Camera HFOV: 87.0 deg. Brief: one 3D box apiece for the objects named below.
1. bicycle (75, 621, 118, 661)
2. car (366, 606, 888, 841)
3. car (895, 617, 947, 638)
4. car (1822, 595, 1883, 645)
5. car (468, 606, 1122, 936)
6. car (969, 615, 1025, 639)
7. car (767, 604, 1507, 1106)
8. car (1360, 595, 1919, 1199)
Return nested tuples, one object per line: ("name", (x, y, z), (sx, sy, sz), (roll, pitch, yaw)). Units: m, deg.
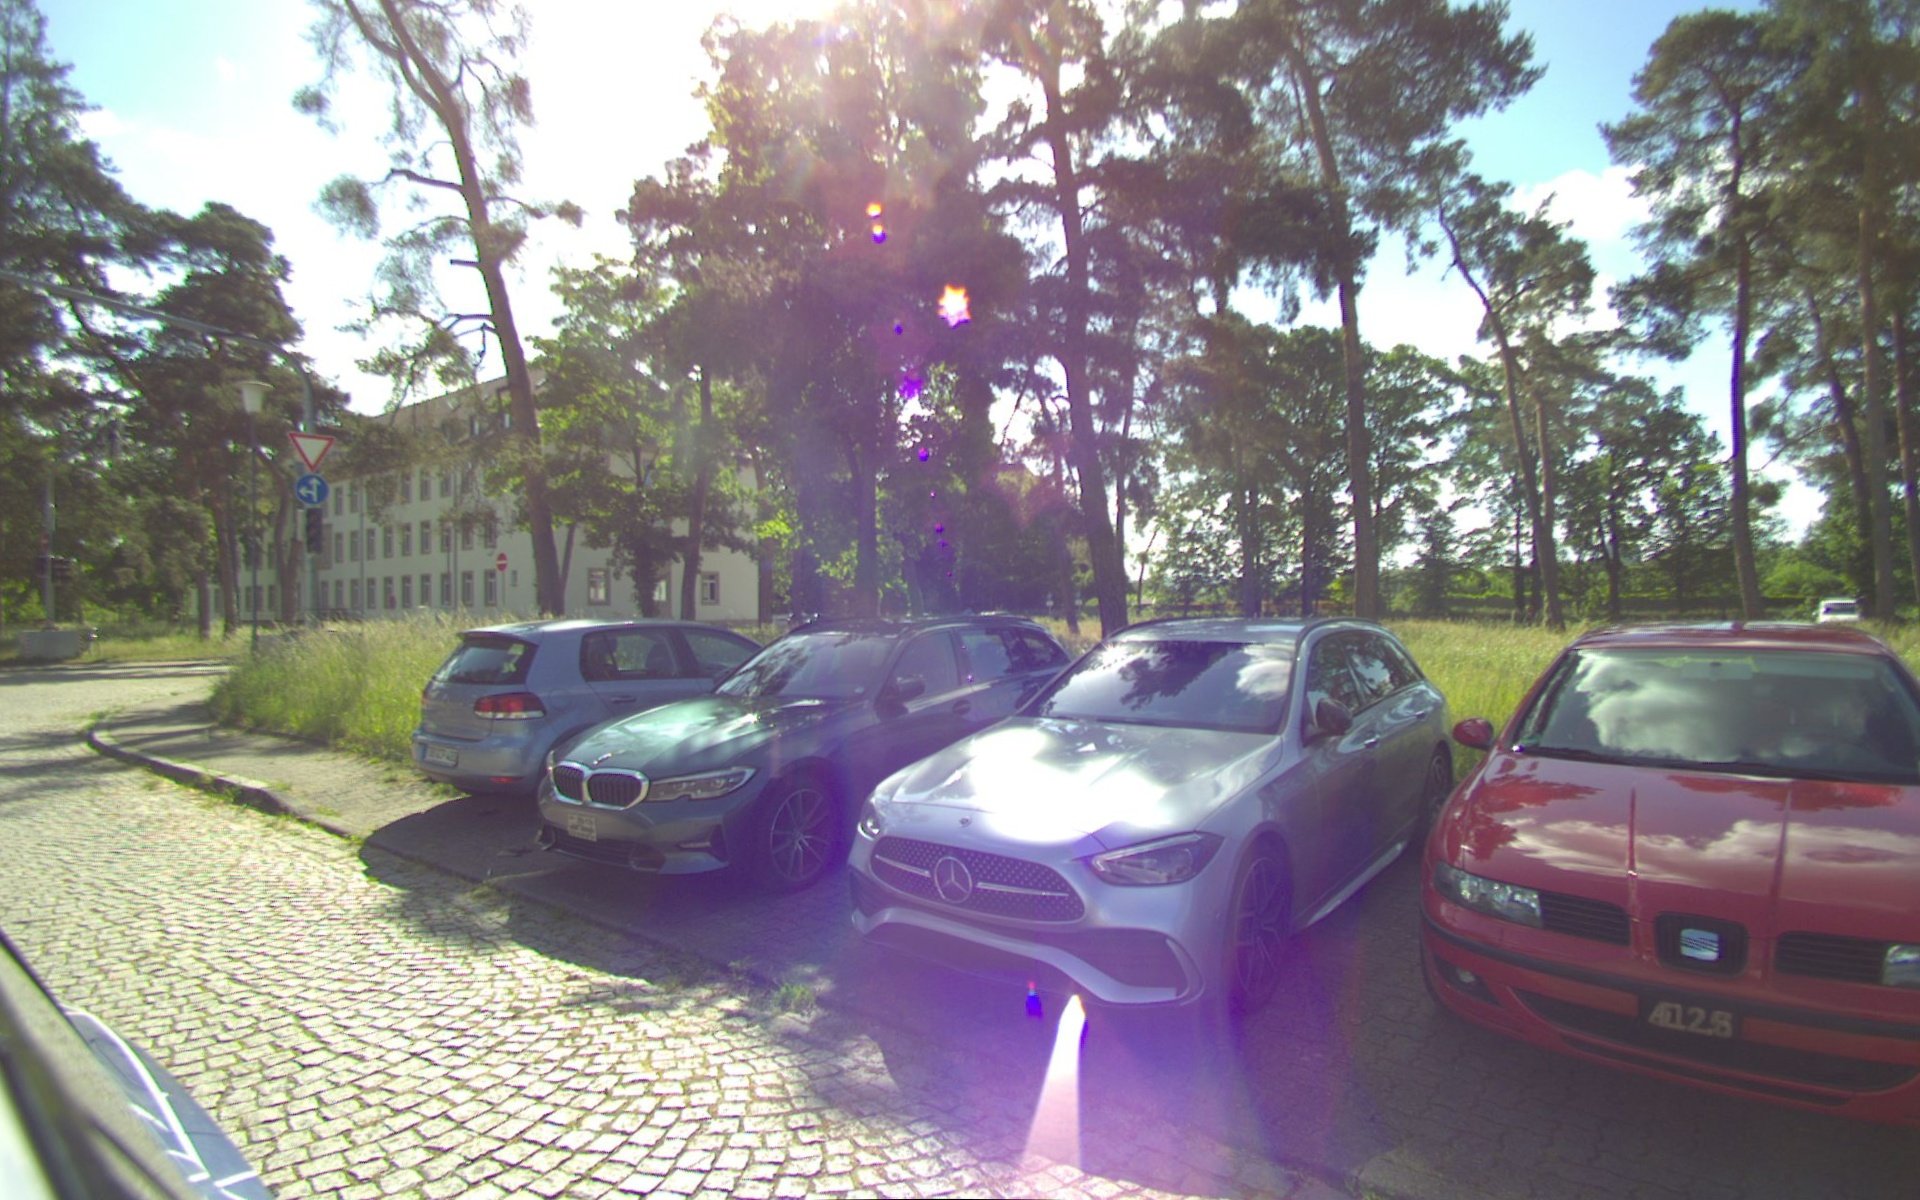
("bicycle", (-29.015, 1.366, 33.997), (2.111, 1.293, 0.614), (-2, 1, 37))
("car", (-2.688, 0.857, 8.953), (1.946, 1.494, 3.990), (-2, 0, 37))
("car", (-2.923, 2.060, 76.537), (1.719, 1.593, 4.053), (-1, -2, 40))
("car", (41.422, 0.932, 47.053), (1.955, 2.180, 4.797), (-1, -2, 40))
("car", (-0.757, 0.817, 7.177), (1.980, 1.463, 4.541), (-1, 0, 35))
("car", (2.628, 1.887, 71.329), (1.839, 1.642, 4.005), (-1, -2, 40))
("car", (1.436, 0.787, 5.569), (1.936, 1.431, 4.817), (0, 1, 39))
("car", (3.518, 0.736, 4.429), (1.936, 1.431, 4.817), (-1, 0, 39))
